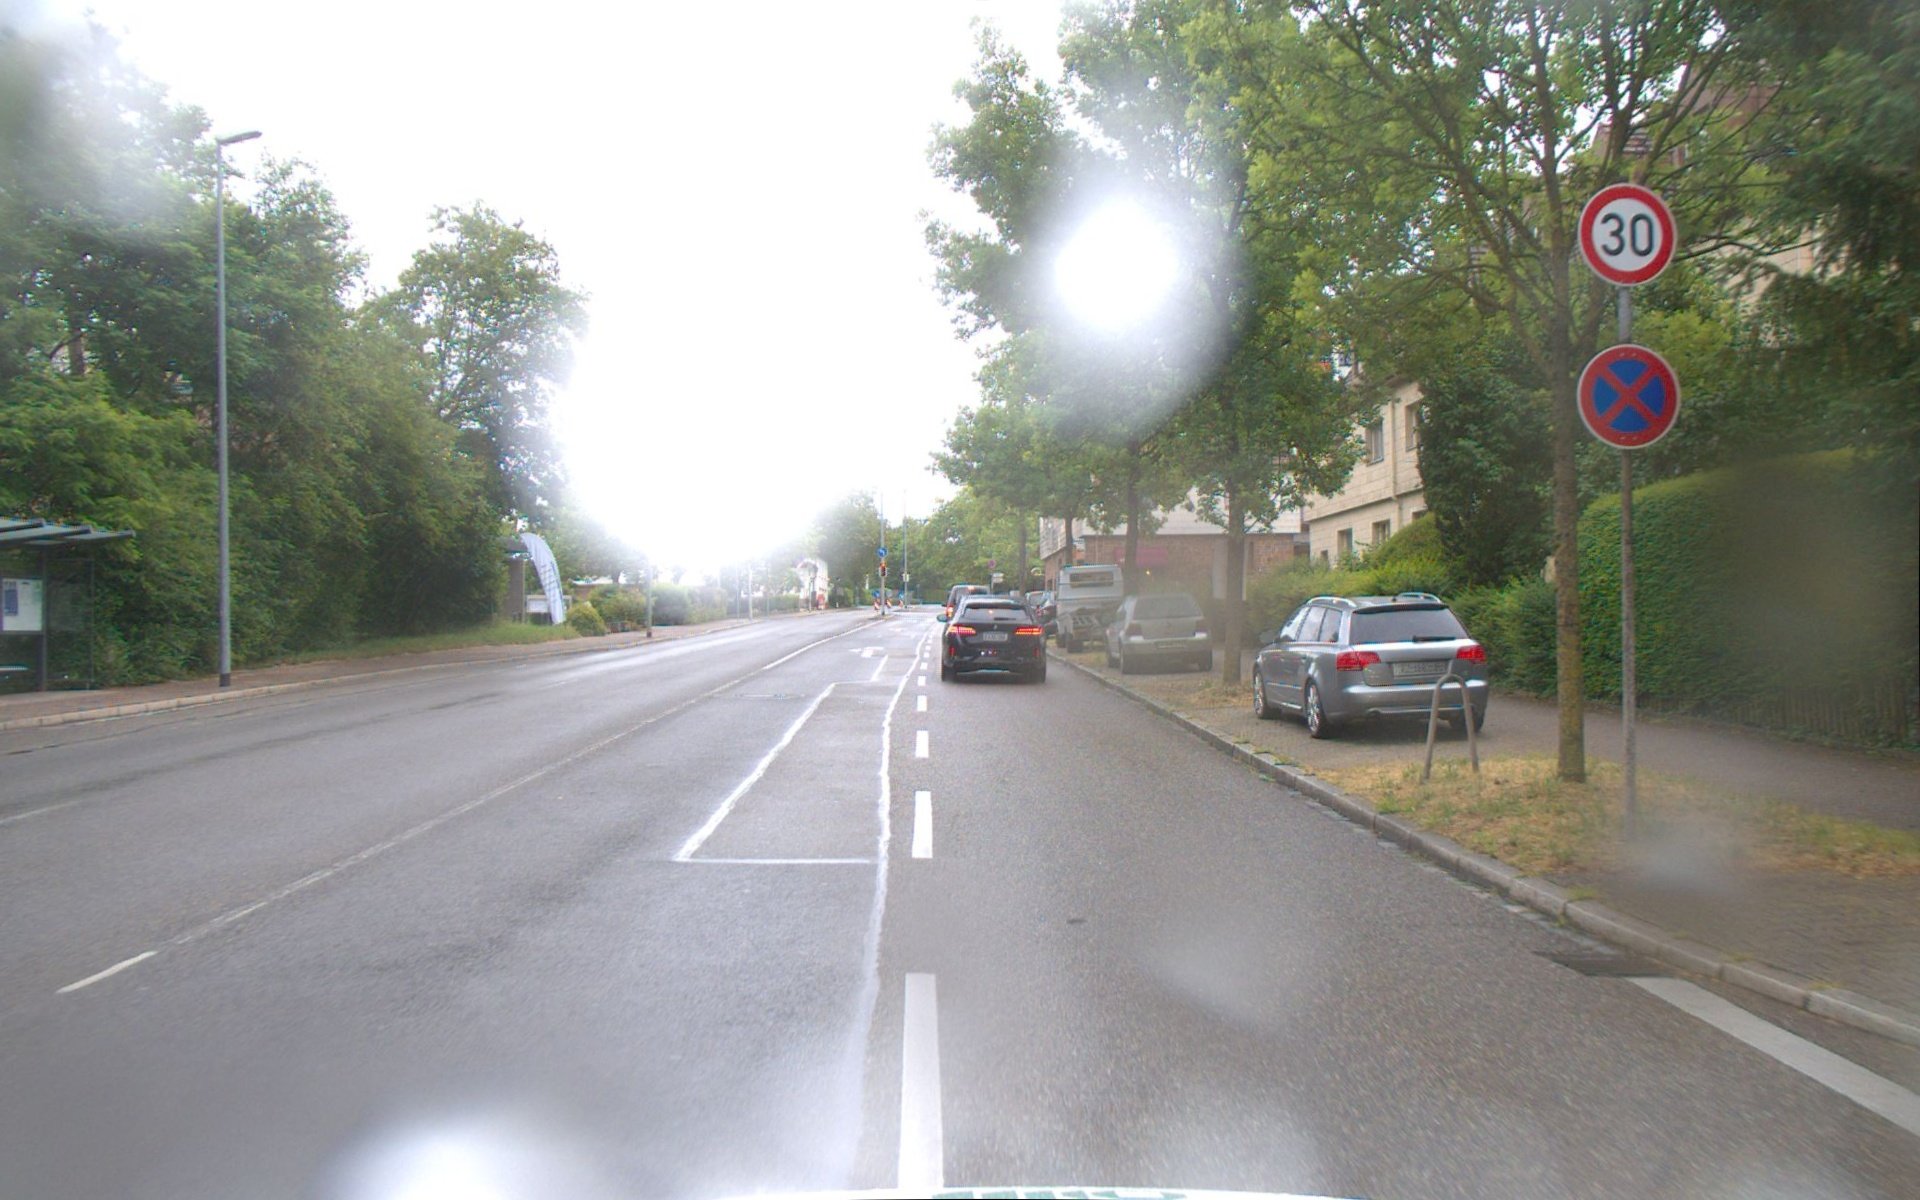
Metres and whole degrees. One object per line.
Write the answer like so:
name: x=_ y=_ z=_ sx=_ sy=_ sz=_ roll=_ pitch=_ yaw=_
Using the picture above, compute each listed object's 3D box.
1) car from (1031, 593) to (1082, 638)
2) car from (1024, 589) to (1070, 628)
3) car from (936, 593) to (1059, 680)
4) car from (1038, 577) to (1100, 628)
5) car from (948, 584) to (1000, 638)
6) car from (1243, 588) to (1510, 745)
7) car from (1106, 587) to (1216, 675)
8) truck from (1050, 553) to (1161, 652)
car: x=3.475 y=0.541 z=60.232 sx=1.572 sy=1.497 sz=3.856 roll=-3 pitch=0 yaw=0
car: x=3.643 y=0.339 z=69.533 sx=1.552 sy=1.516 sz=3.626 roll=-3 pitch=1 yaw=-2
car: x=0.620 y=0.627 z=30.621 sx=2.023 sy=1.472 sz=4.481 roll=1 pitch=0 yaw=-2
car: x=3.542 y=0.077 z=54.180 sx=1.679 sy=1.525 sz=4.183 roll=-3 pitch=0 yaw=0
car: x=0.464 y=0.358 z=59.052 sx=1.748 sy=1.849 sz=3.999 roll=0 pitch=0 yaw=-1
car: x=4.407 y=0.625 z=18.212 sx=1.654 sy=1.413 sz=4.498 roll=-2 pitch=1 yaw=-1
car: x=3.811 y=0.539 z=31.845 sx=1.569 sy=1.461 sz=4.022 roll=-3 pitch=1 yaw=0
truck: x=3.669 y=0.042 z=42.796 sx=2.038 sy=2.260 sz=6.500 roll=-3 pitch=0 yaw=-1
